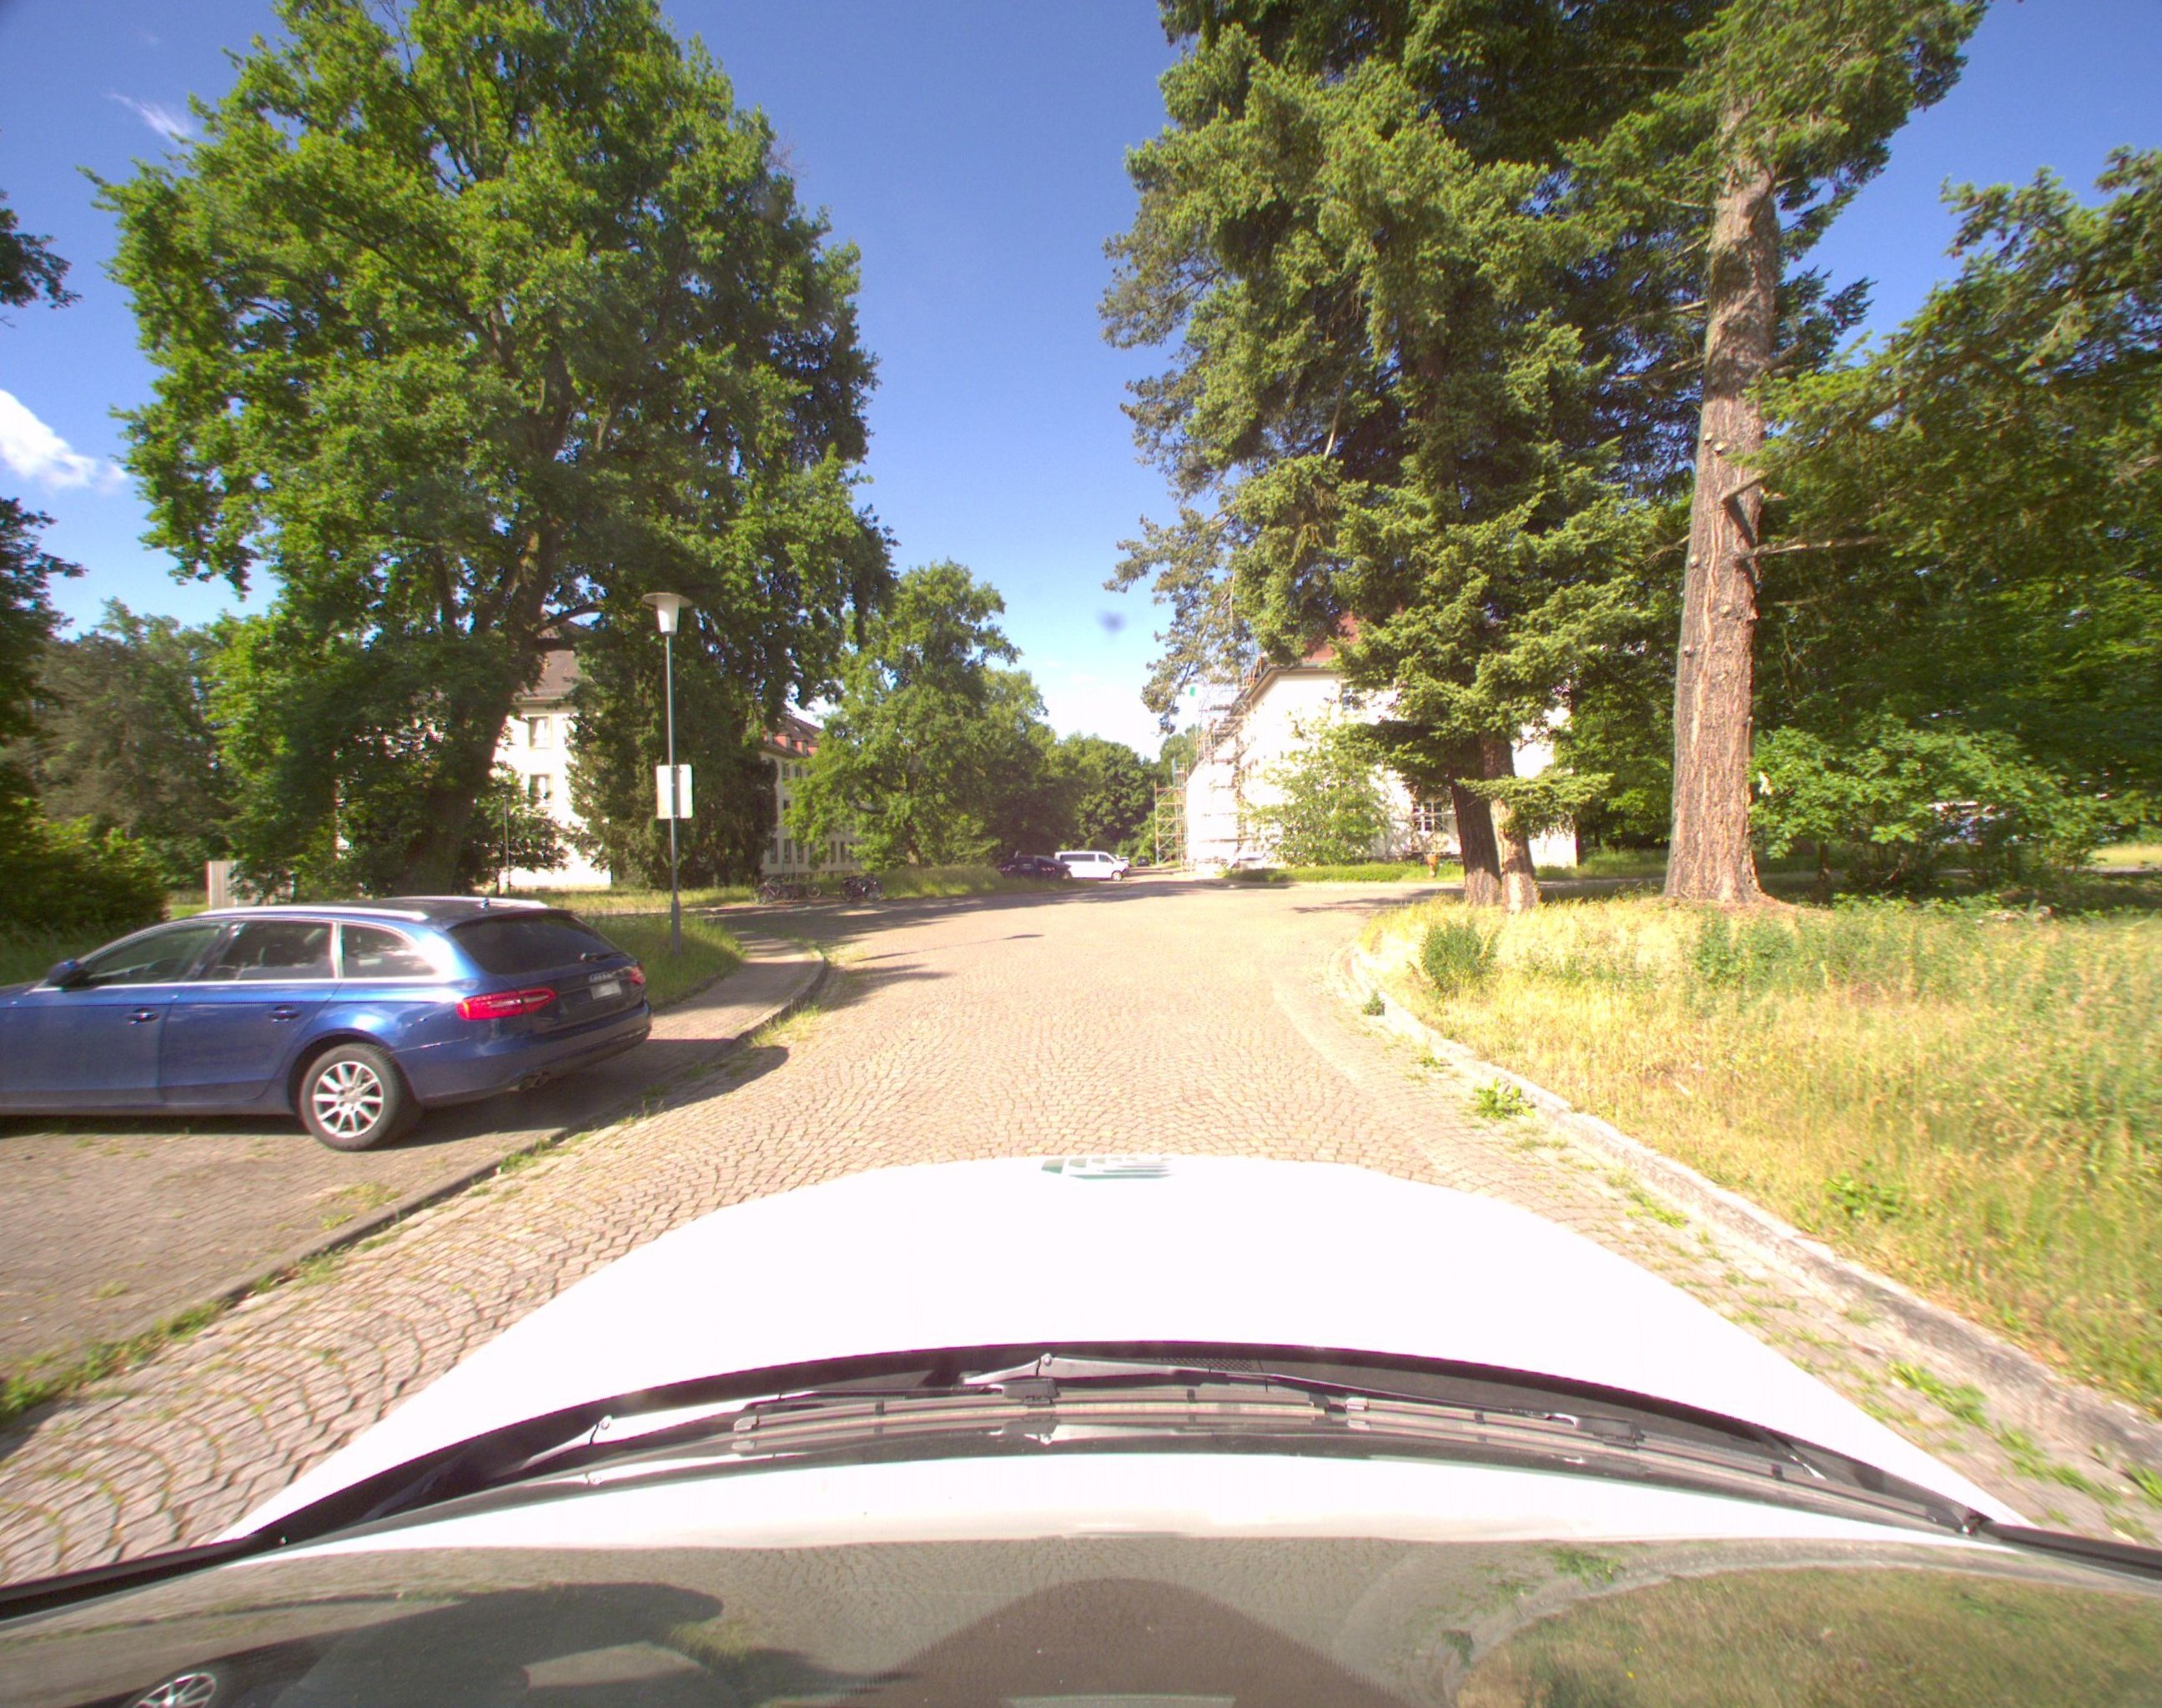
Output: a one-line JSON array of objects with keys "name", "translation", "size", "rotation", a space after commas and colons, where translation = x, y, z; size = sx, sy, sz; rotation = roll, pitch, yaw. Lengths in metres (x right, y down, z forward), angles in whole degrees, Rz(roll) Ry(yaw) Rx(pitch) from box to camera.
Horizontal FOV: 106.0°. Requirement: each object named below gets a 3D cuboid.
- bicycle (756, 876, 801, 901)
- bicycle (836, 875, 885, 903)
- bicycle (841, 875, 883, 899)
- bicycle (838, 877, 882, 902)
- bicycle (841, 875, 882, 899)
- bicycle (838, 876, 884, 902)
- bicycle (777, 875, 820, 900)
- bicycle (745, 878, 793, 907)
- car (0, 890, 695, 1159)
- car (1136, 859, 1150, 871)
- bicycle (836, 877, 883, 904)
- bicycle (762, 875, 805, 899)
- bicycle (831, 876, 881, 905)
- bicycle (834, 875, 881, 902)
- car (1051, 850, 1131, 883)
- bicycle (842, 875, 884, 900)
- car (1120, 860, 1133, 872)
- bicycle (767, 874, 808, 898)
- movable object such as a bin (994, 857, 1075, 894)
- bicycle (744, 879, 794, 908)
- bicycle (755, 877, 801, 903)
[{"name": "bicycle", "translation": [-14.204, 1.610, 38.261], "size": [1.923, 1.103, 0.565], "rotation": [-2, 1, -26]}, {"name": "bicycle", "translation": [-9.481, 1.499, 34.970], "size": [1.923, 1.058, 0.472], "rotation": [-4, 0, -27]}, {"name": "bicycle", "translation": [-10.862, 1.640, 40.415], "size": [1.919, 1.058, 0.473], "rotation": [-4, 0, -19]}, {"name": "bicycle", "translation": [-10.354, 1.654, 38.162], "size": [1.919, 1.058, 0.473], "rotation": [-4, 0, -19]}, {"name": "bicycle", "translation": [-11.002, 1.649, 40.859], "size": [1.919, 1.058, 0.473], "rotation": [-4, 0, -19]}, {"name": "bicycle", "translation": [-10.089, 1.607, 37.339], "size": [1.920, 1.058, 0.472], "rotation": [-4, 0, -21]}, {"name": "bicycle", "translation": [-13.615, 1.610, 39.326], "size": [1.917, 1.103, 0.567], "rotation": [-1, 1, -17]}, {"name": "bicycle", "translation": [-13.500, 1.659, 35.271], "size": [1.921, 1.103, 0.566], "rotation": [-2, 1, -22]}, {"name": "car", "translation": [-5.382, 1.060, 5.784], "size": [4.338, 1.445, 1.923], "rotation": [-1, 0, 5]}, {"name": "car", "translation": [9.175, 1.618, 120.588], "size": [1.963, 1.668, 4.088], "rotation": [-2, -1, 2]}, {"name": "bicycle", "translation": [-9.943, 1.627, 36.543], "size": [1.920, 1.058, 0.472], "rotation": [-4, 0, -21]}, {"name": "bicycle", "translation": [-14.555, 1.615, 39.876], "size": [1.917, 1.103, 0.567], "rotation": [-1, 1, -17]}, {"name": "bicycle", "translation": [-9.491, 1.529, 34.414], "size": [1.923, 1.058, 0.472], "rotation": [-4, 0, -27]}, {"name": "bicycle", "translation": [-9.868, 1.524, 35.977], "size": [1.920, 1.058, 0.472], "rotation": [-4, 0, -21]}, {"name": "car", "translation": [0.705, 0.817, 54.510], "size": [5.214, 2.016, 1.951], "rotation": [-2, -1, 2]}, {"name": "bicycle", "translation": [-10.703, 1.628, 39.943], "size": [1.919, 1.058, 0.473], "rotation": [-4, 0, -19]}, {"name": "car", "translation": [6.770, 1.757, 120.374], "size": [1.805, 1.579, 4.137], "rotation": [-2, -1, 2]}, {"name": "bicycle", "translation": [-14.717, 1.602, 40.828], "size": [1.920, 1.103, 0.566], "rotation": [-1, 1, -21]}, {"name": "movable object such as a bin", "translation": [-2.371, 1.085, 41.505], "size": [3.535, 1.745, 2.035], "rotation": [-3, -1, 21]}, {"name": "bicycle", "translation": [-13.310, 1.667, 34.768], "size": [1.921, 1.103, 0.566], "rotation": [-2, 1, -22]}, {"name": "bicycle", "translation": [-13.739, 1.616, 36.943], "size": [1.923, 1.103, 0.565], "rotation": [-2, 1, -26]}]
